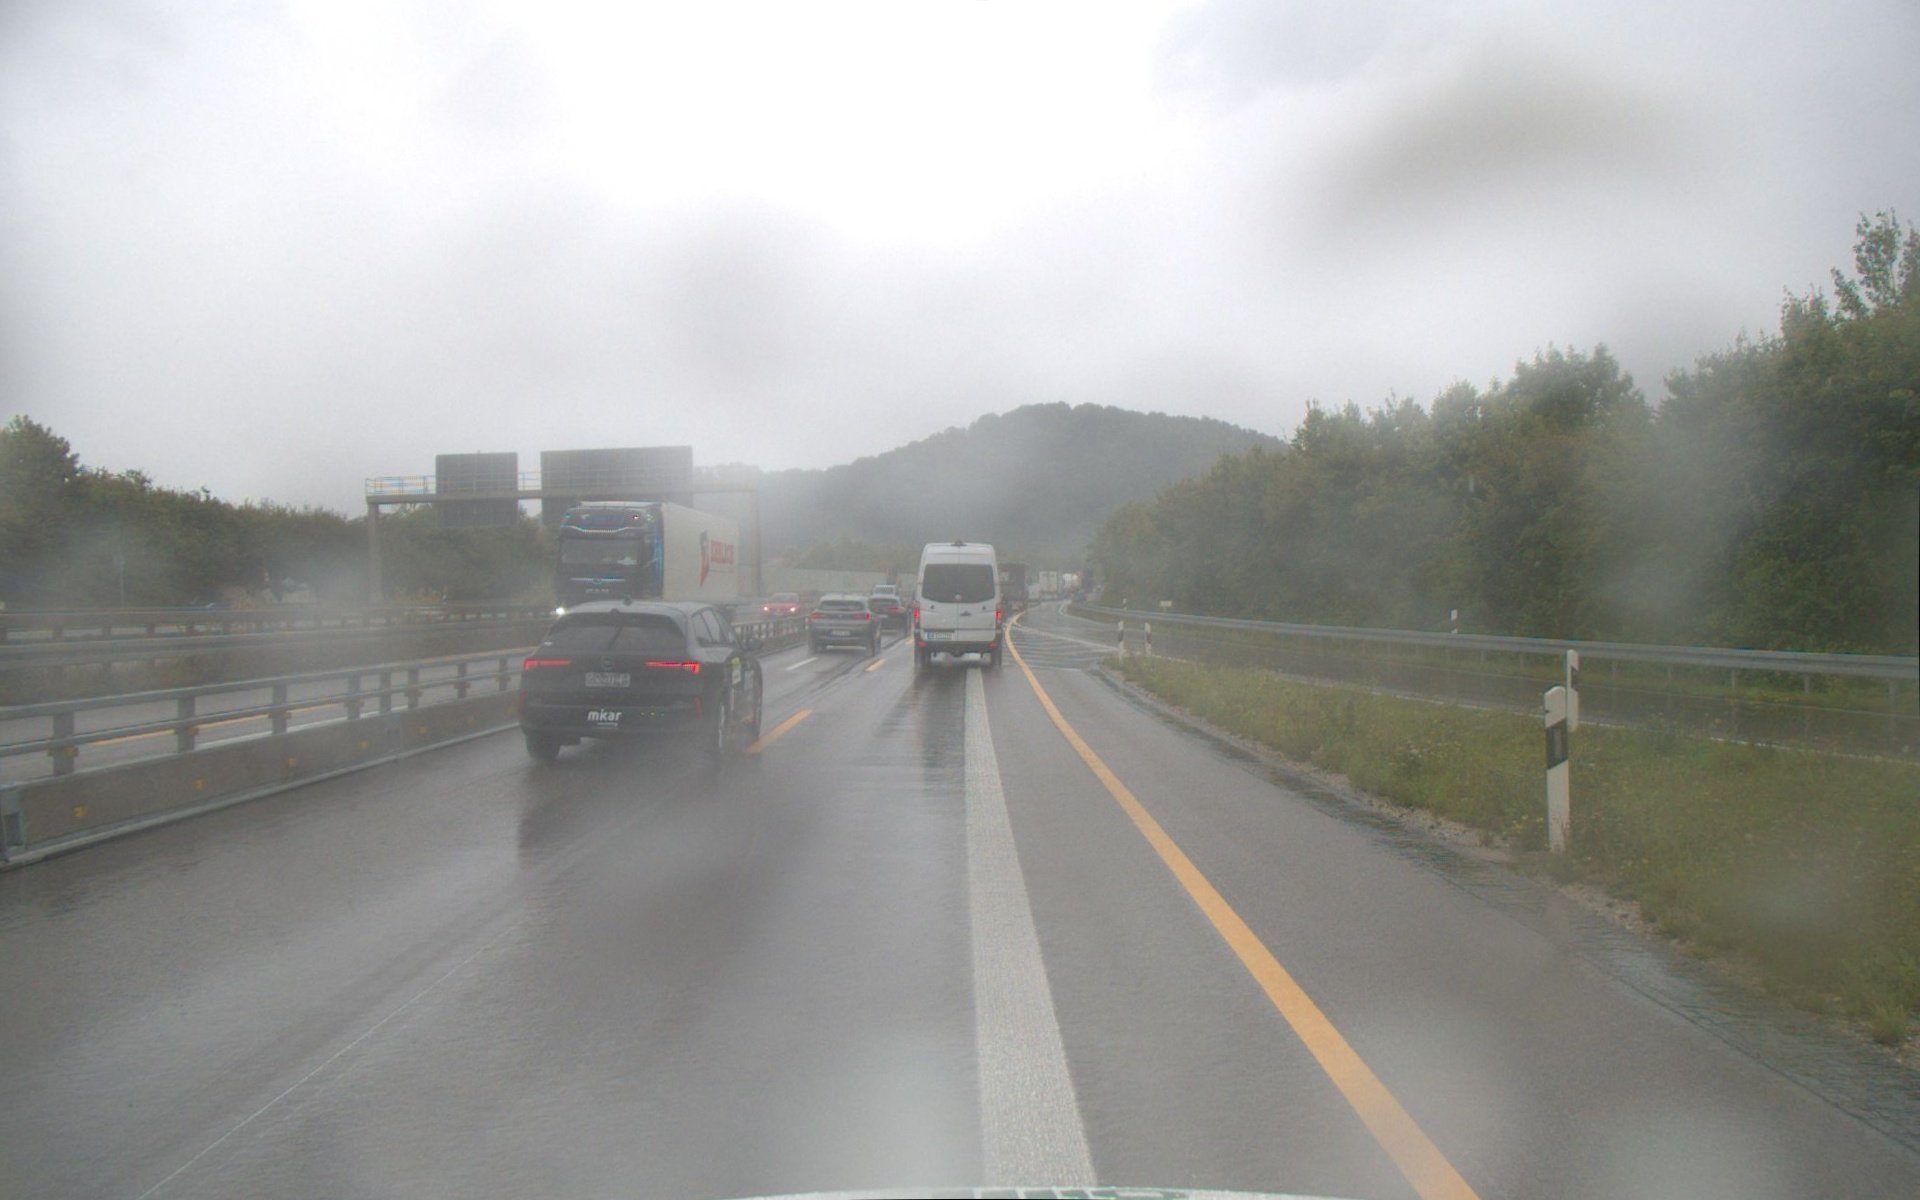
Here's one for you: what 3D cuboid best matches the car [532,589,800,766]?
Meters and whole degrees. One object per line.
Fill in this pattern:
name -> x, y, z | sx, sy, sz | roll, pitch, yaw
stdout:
car -> -2.688, 0.659, 16.243 | 1.900, 1.452, 4.758 | 1, 0, -2

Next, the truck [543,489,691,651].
truck -> -9.626, -0.771, 47.094 | 2.829, 4.306, 6.326 | 0, -1, 1

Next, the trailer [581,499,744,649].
trailer -> -9.472, -0.688, 54.447 | 2.833, 4.361, 12.895 | 0, -1, 1

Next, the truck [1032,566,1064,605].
truck -> 11.828, -1.863, 221.856 | 3.845, 4.868, 9.912 | 1, -1, 5

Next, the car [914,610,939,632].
car -> -1.777, 1.104, 88.214 | 1.237, 1.097, 3.254 | 0, 0, 0

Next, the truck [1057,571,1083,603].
truck -> 17.372, -2.005, 260.399 | 3.845, 4.868, 9.912 | 1, -1, 5

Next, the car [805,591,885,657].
car -> -3.102, 0.636, 45.193 | 1.829, 1.688, 3.988 | 0, 0, 1

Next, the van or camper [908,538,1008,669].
van or camper -> 0.000, 0.085, 37.414 | 2.095, 2.769, 4.648 | 0, 0, 1

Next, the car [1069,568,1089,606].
car -> 13.687, -1.492, 190.626 | 2.015, 4.265, 6.748 | 0, 0, 3

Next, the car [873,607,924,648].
car -> -2.366, 1.037, 64.443 | 1.814, 1.527, 3.999 | 0, 0, 0

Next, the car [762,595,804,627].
car -> -8.827, 0.550, 82.693 | 1.575, 1.530, 4.216 | 2, -1, 0

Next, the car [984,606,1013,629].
car -> 2.177, 0.968, 94.518 | 1.357, 1.278, 3.120 | 0, 0, -4

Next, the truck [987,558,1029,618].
truck -> 4.078, -0.966, 141.370 | 3.252, 4.868, 9.906 | 2, -1, 0

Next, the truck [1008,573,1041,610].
truck -> 7.064, -0.907, 182.707 | 3.252, 3.827, 9.906 | 2, -1, 0
